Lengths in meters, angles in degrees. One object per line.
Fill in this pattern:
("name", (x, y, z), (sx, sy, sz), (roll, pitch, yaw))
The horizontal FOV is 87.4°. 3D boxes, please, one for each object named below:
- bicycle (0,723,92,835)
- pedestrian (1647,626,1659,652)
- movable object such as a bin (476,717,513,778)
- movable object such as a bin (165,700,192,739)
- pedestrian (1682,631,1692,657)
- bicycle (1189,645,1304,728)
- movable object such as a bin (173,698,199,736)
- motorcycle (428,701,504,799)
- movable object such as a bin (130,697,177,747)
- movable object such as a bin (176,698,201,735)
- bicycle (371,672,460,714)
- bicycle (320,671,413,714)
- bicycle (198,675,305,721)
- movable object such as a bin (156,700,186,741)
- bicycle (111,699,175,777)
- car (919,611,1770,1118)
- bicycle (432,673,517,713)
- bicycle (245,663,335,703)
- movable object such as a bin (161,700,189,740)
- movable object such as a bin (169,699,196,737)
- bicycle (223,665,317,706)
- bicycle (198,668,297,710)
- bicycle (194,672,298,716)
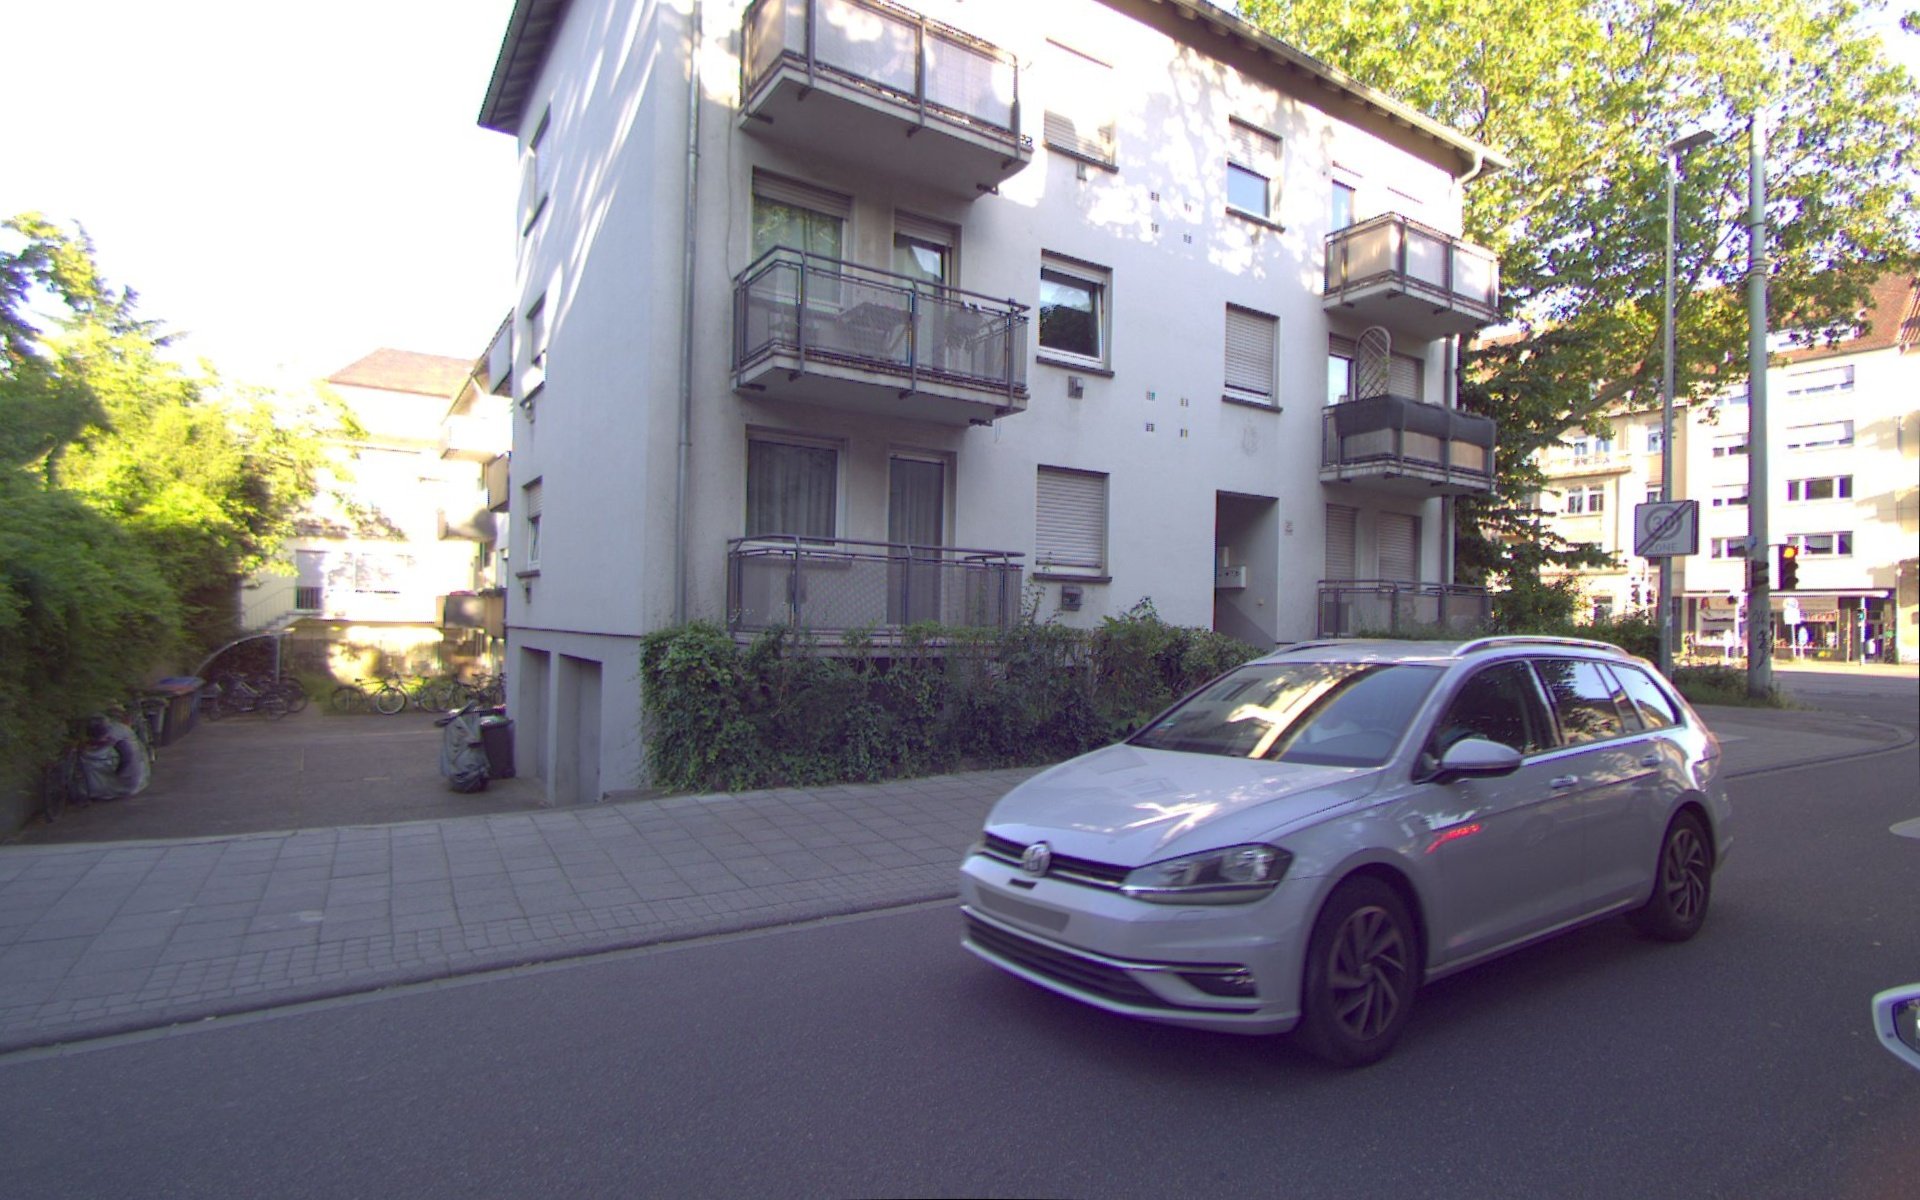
("bicycle", (-10.994, 2.102, 12.074), (0.509, 1.033, 1.922), (3, -1, -32))
("pedestrian", (40.334, 2.257, 58.456), (0.558, 1.531, 0.499), (0, -1, 41))
("movable object such as a bin", (-7.503, 2.361, 16.185), (0.428, 0.899, 0.720), (1, -2, -34))
("movable object such as a bin", (-16.024, 2.439, 20.598), (0.371, 0.768, 0.361), (2, -4, -30))
("pedestrian", (42.109, 2.541, 58.178), (0.466, 1.531, 0.429), (0, -1, 36))
("bicycle", (3.881, 1.152, 13.616), (1.433, 0.988, 0.407), (3, 0, 21))
("movable object such as a bin", (-16.405, 2.472, 21.288), (0.362, 0.768, 0.361), (2, -4, -30))
("motorcycle", (-7.401, 2.197, 15.025), (0.751, 1.268, 1.578), (1, -2, -36))
("movable object such as a bin", (-14.952, 2.254, 18.625), (0.570, 0.891, 0.491), (2, -4, -30))
("movable object such as a bin", (-16.607, 2.503, 21.628), (0.342, 0.768, 0.361), (2, -4, -30))
("bicycle", (-14.728, 2.521, 27.204), (2.045, 1.034, 0.637), (4, 0, -30))
("bicycle", (-15.694, 2.457, 26.616), (2.045, 1.034, 0.637), (4, 0, -30))
("bicycle", (-17.277, 2.399, 24.554), (2.045, 1.034, 0.637), (4, 0, -30))
("movable object such as a bin", (-15.632, 2.380, 19.898), (0.393, 0.784, 0.361), (2, -4, -30))
("bicycle", (-13.224, 2.203, 16.296), (0.509, 1.033, 1.922), (3, -1, -32))
("car", (2.059, 0.838, 4.895), (4.255, 1.481, 1.770), (1, -2, -34))
("bicycle", (-13.492, 2.597, 27.929), (2.045, 1.034, 0.637), (4, 0, -30))
("bicycle", (-19.020, 2.367, 28.568), (2.045, 1.034, 0.564), (4, 0, -30))
("movable object such as a bin", (-15.826, 2.411, 20.257), (0.377, 0.784, 0.361), (2, -4, -30))
("movable object such as a bin", (-16.211, 2.461, 20.947), (0.362, 0.768, 0.361), (2, -4, -30))
("bicycle", (-18.996, 2.363, 27.695), (2.045, 1.034, 0.611), (4, 0, -30))
("bicycle", (-18.862, 2.362, 26.658), (2.045, 1.034, 0.611), (4, 0, -30))
("bicycle", (-18.029, 2.380, 25.432), (2.045, 1.034, 0.568), (4, 0, -30))
